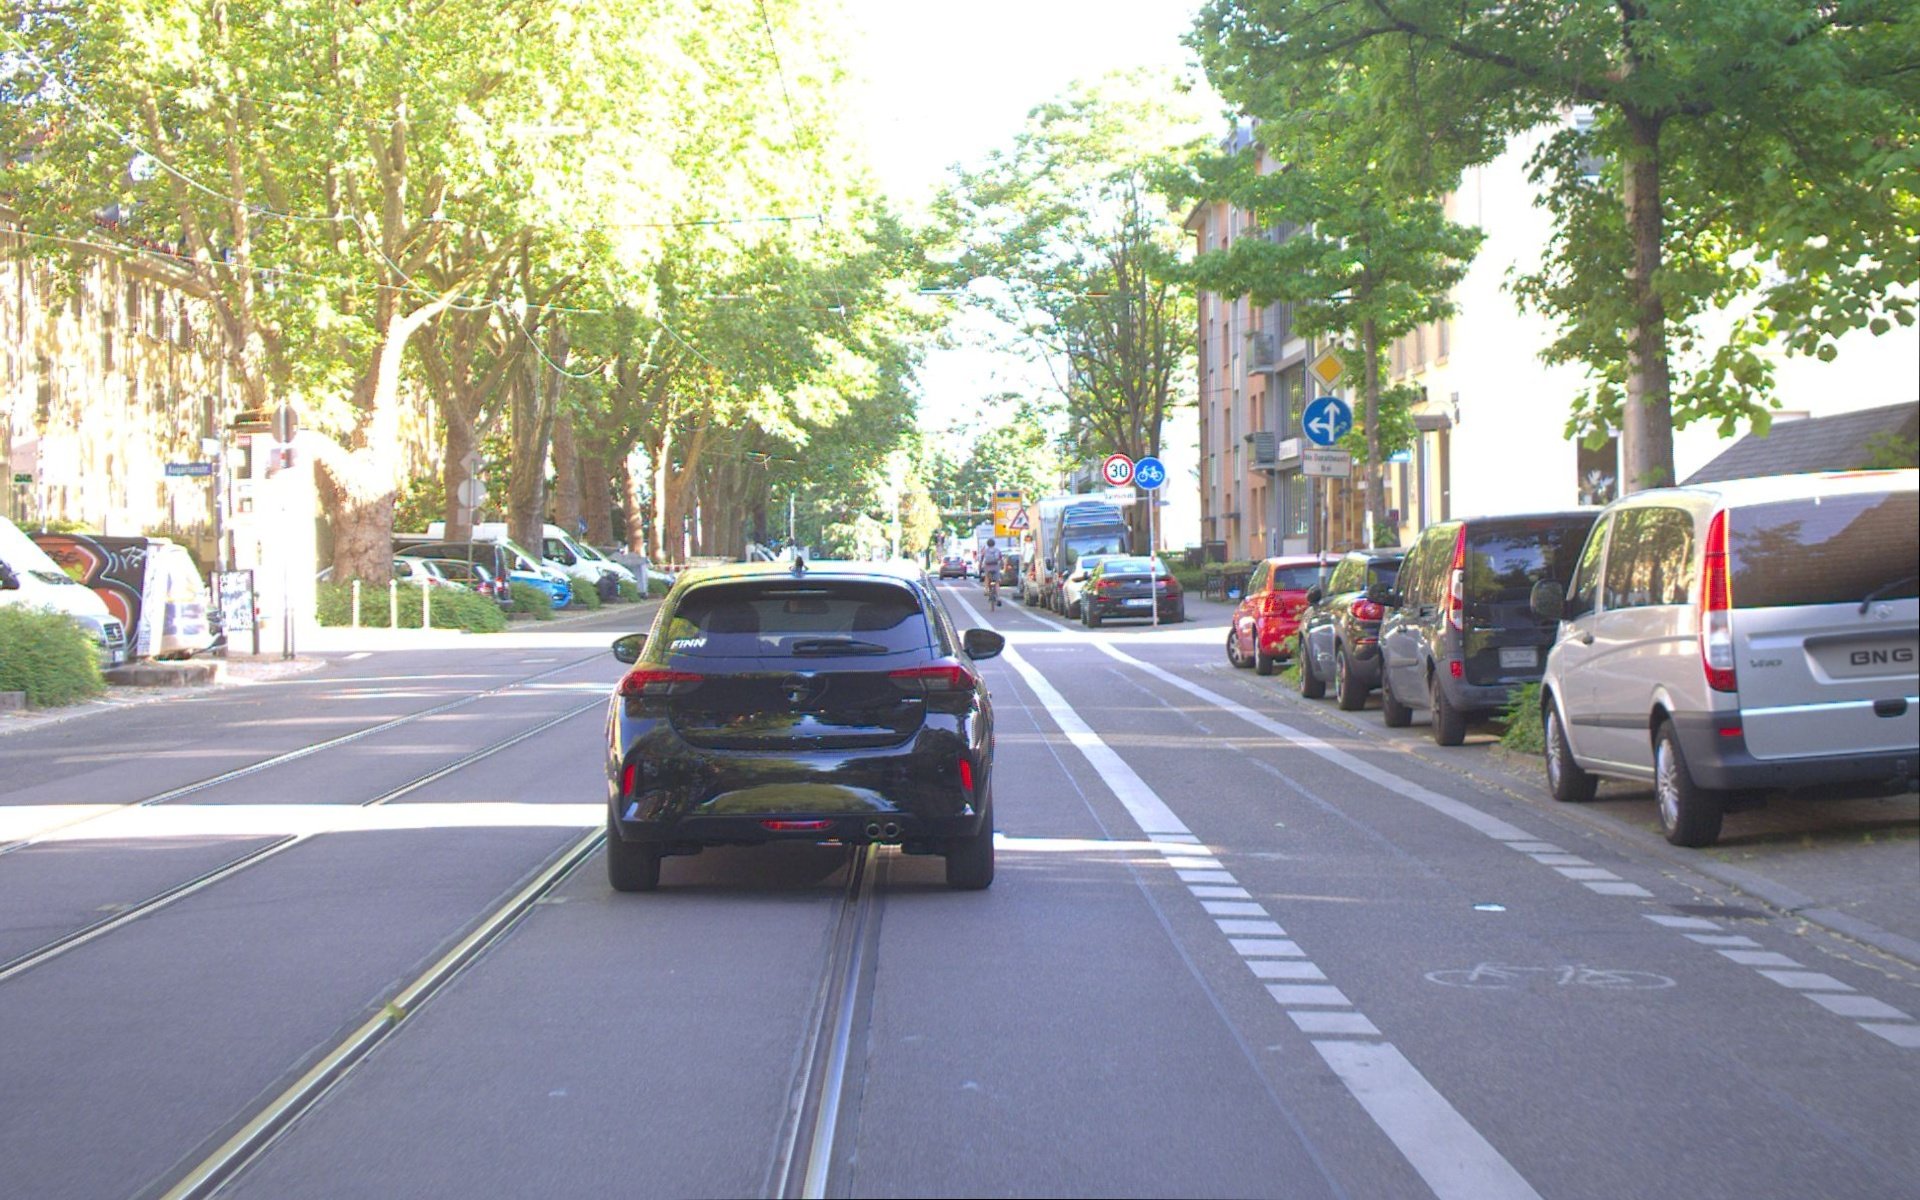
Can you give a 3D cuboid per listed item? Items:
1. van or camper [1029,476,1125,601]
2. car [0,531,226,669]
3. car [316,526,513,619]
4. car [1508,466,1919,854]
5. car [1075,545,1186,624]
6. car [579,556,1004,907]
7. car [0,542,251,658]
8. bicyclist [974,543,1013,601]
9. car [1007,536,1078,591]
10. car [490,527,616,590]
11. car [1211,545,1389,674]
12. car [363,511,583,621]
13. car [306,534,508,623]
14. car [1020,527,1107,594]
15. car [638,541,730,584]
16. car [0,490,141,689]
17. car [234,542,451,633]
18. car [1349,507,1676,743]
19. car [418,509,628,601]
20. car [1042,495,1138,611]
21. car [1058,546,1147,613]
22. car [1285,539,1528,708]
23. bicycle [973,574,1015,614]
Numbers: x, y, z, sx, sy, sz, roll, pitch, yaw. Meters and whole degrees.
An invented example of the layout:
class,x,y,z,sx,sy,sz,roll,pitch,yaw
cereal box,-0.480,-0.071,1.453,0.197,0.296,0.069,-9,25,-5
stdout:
class,x,y,z,sx,sy,sz,roll,pitch,yaw
van or camper,3.135,-1.661,92.895,2.254,3.205,5.531,-2,1,-1
car,-12.110,-0.016,45.799,4.299,1.795,1.926,0,1,-3
car,-12.502,-0.632,79.023,4.299,1.834,1.783,-4,1,-8
car,4.492,0.240,19.372,1.884,1.845,4.967,-3,1,-1
car,3.392,-0.338,68.965,1.884,1.429,4.530,-3,1,-1
car,-0.714,0.524,16.300,1.763,1.455,3.950,0,1,0
car,-12.309,-0.014,48.434,4.299,1.601,1.926,0,1,-3
bicyclist,0.862,-0.736,89.422,0.958,1.494,1.094,0,1,-2
car,2.885,-1.302,121.255,2.254,1.834,5.531,-2,1,-1
car,-13.249,-1.351,111.702,3.986,2.007,2.001,0,1,-9
car,4.195,0.084,42.947,1.702,1.418,3.978,-4,1,0
car,-12.116,-0.858,85.718,5.036,2.366,2.081,-4,1,0
car,-12.310,-0.488,76.696,4.299,1.669,1.783,-4,1,-8
car,2.977,-1.150,100.102,2.254,1.834,5.531,-2,1,-1
car,-12.920,-1.768,161.121,3.988,2.007,2.000,0,1,6
car,-12.231,-0.136,39.875,5.032,2.251,2.086,0,1,-3
car,-12.912,-0.277,72.118,4.299,1.588,1.783,-4,1,-8
car,4.460,0.160,28.459,1.885,1.760,4.678,-1,1,0
car,-12.477,-1.279,98.430,5.639,2.584,2.196,0,1,4
car,3.230,-1.207,86.288,2.085,2.762,4.698,-2,1,-1
car,3.256,-0.448,79.139,1.803,1.429,4.000,-2,0,-1
car,4.378,0.193,34.262,1.712,1.509,4.037,-3,1,-2
bicycle,0.870,-0.169,89.441,0.968,0.995,2.583,0,1,-2
